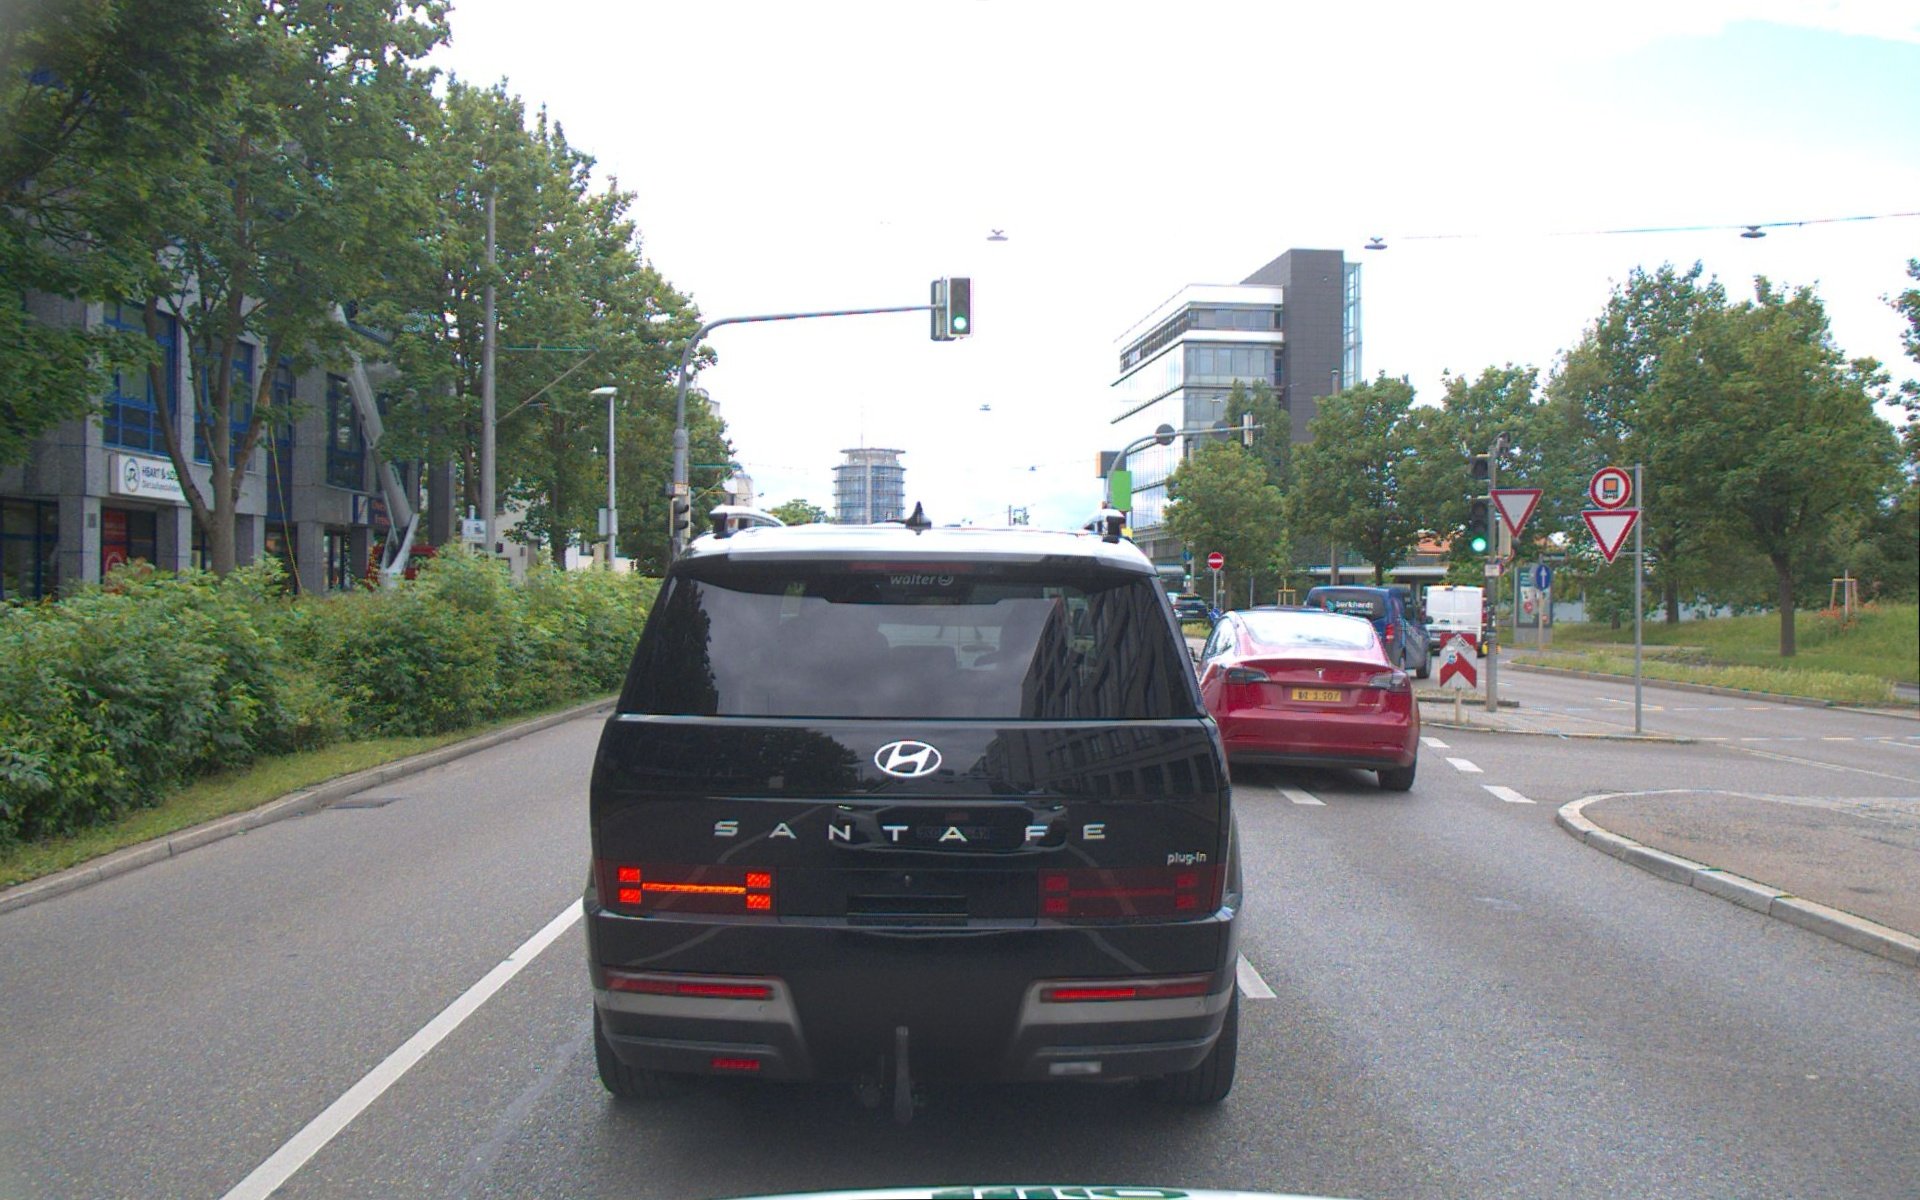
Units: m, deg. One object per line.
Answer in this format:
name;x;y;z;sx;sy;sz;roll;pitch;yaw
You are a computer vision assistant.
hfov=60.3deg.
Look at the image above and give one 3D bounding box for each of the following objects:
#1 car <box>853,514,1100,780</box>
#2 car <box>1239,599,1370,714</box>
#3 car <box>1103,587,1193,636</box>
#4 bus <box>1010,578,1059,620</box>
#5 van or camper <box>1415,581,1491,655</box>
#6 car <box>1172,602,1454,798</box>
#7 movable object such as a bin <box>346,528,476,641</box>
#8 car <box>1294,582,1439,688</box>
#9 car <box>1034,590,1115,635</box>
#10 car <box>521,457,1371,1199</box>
car;0.266;0.354;15.163;1.862;2.003;4.638;2;0;3
car;5.051;0.769;24.411;1.707;1.507;3.722;1;0;11
car;6.780;0.385;60.062;1.856;1.591;4.381;2;1;-13
bus;5.910;-0.036;133.303;2.908;3.171;9.236;-1;0;-4
van or camper;14.096;0.467;47.499;1.951;1.951;4.412;1;1;15
car;3.033;0.777;15.124;1.834;1.443;4.444;2;0;3
movable object such as a bin;-13.411;-0.375;40.646;1.866;2.575;4.126;1;0;-2
car;8.198;0.659;33.045;1.864;1.891;4.705;2;0;25
car;4.016;0.411;58.712;1.751;1.450;4.384;2;1;-11
car;-0.059;0.577;5.939;1.863;1.762;4.445;2;0;-1
